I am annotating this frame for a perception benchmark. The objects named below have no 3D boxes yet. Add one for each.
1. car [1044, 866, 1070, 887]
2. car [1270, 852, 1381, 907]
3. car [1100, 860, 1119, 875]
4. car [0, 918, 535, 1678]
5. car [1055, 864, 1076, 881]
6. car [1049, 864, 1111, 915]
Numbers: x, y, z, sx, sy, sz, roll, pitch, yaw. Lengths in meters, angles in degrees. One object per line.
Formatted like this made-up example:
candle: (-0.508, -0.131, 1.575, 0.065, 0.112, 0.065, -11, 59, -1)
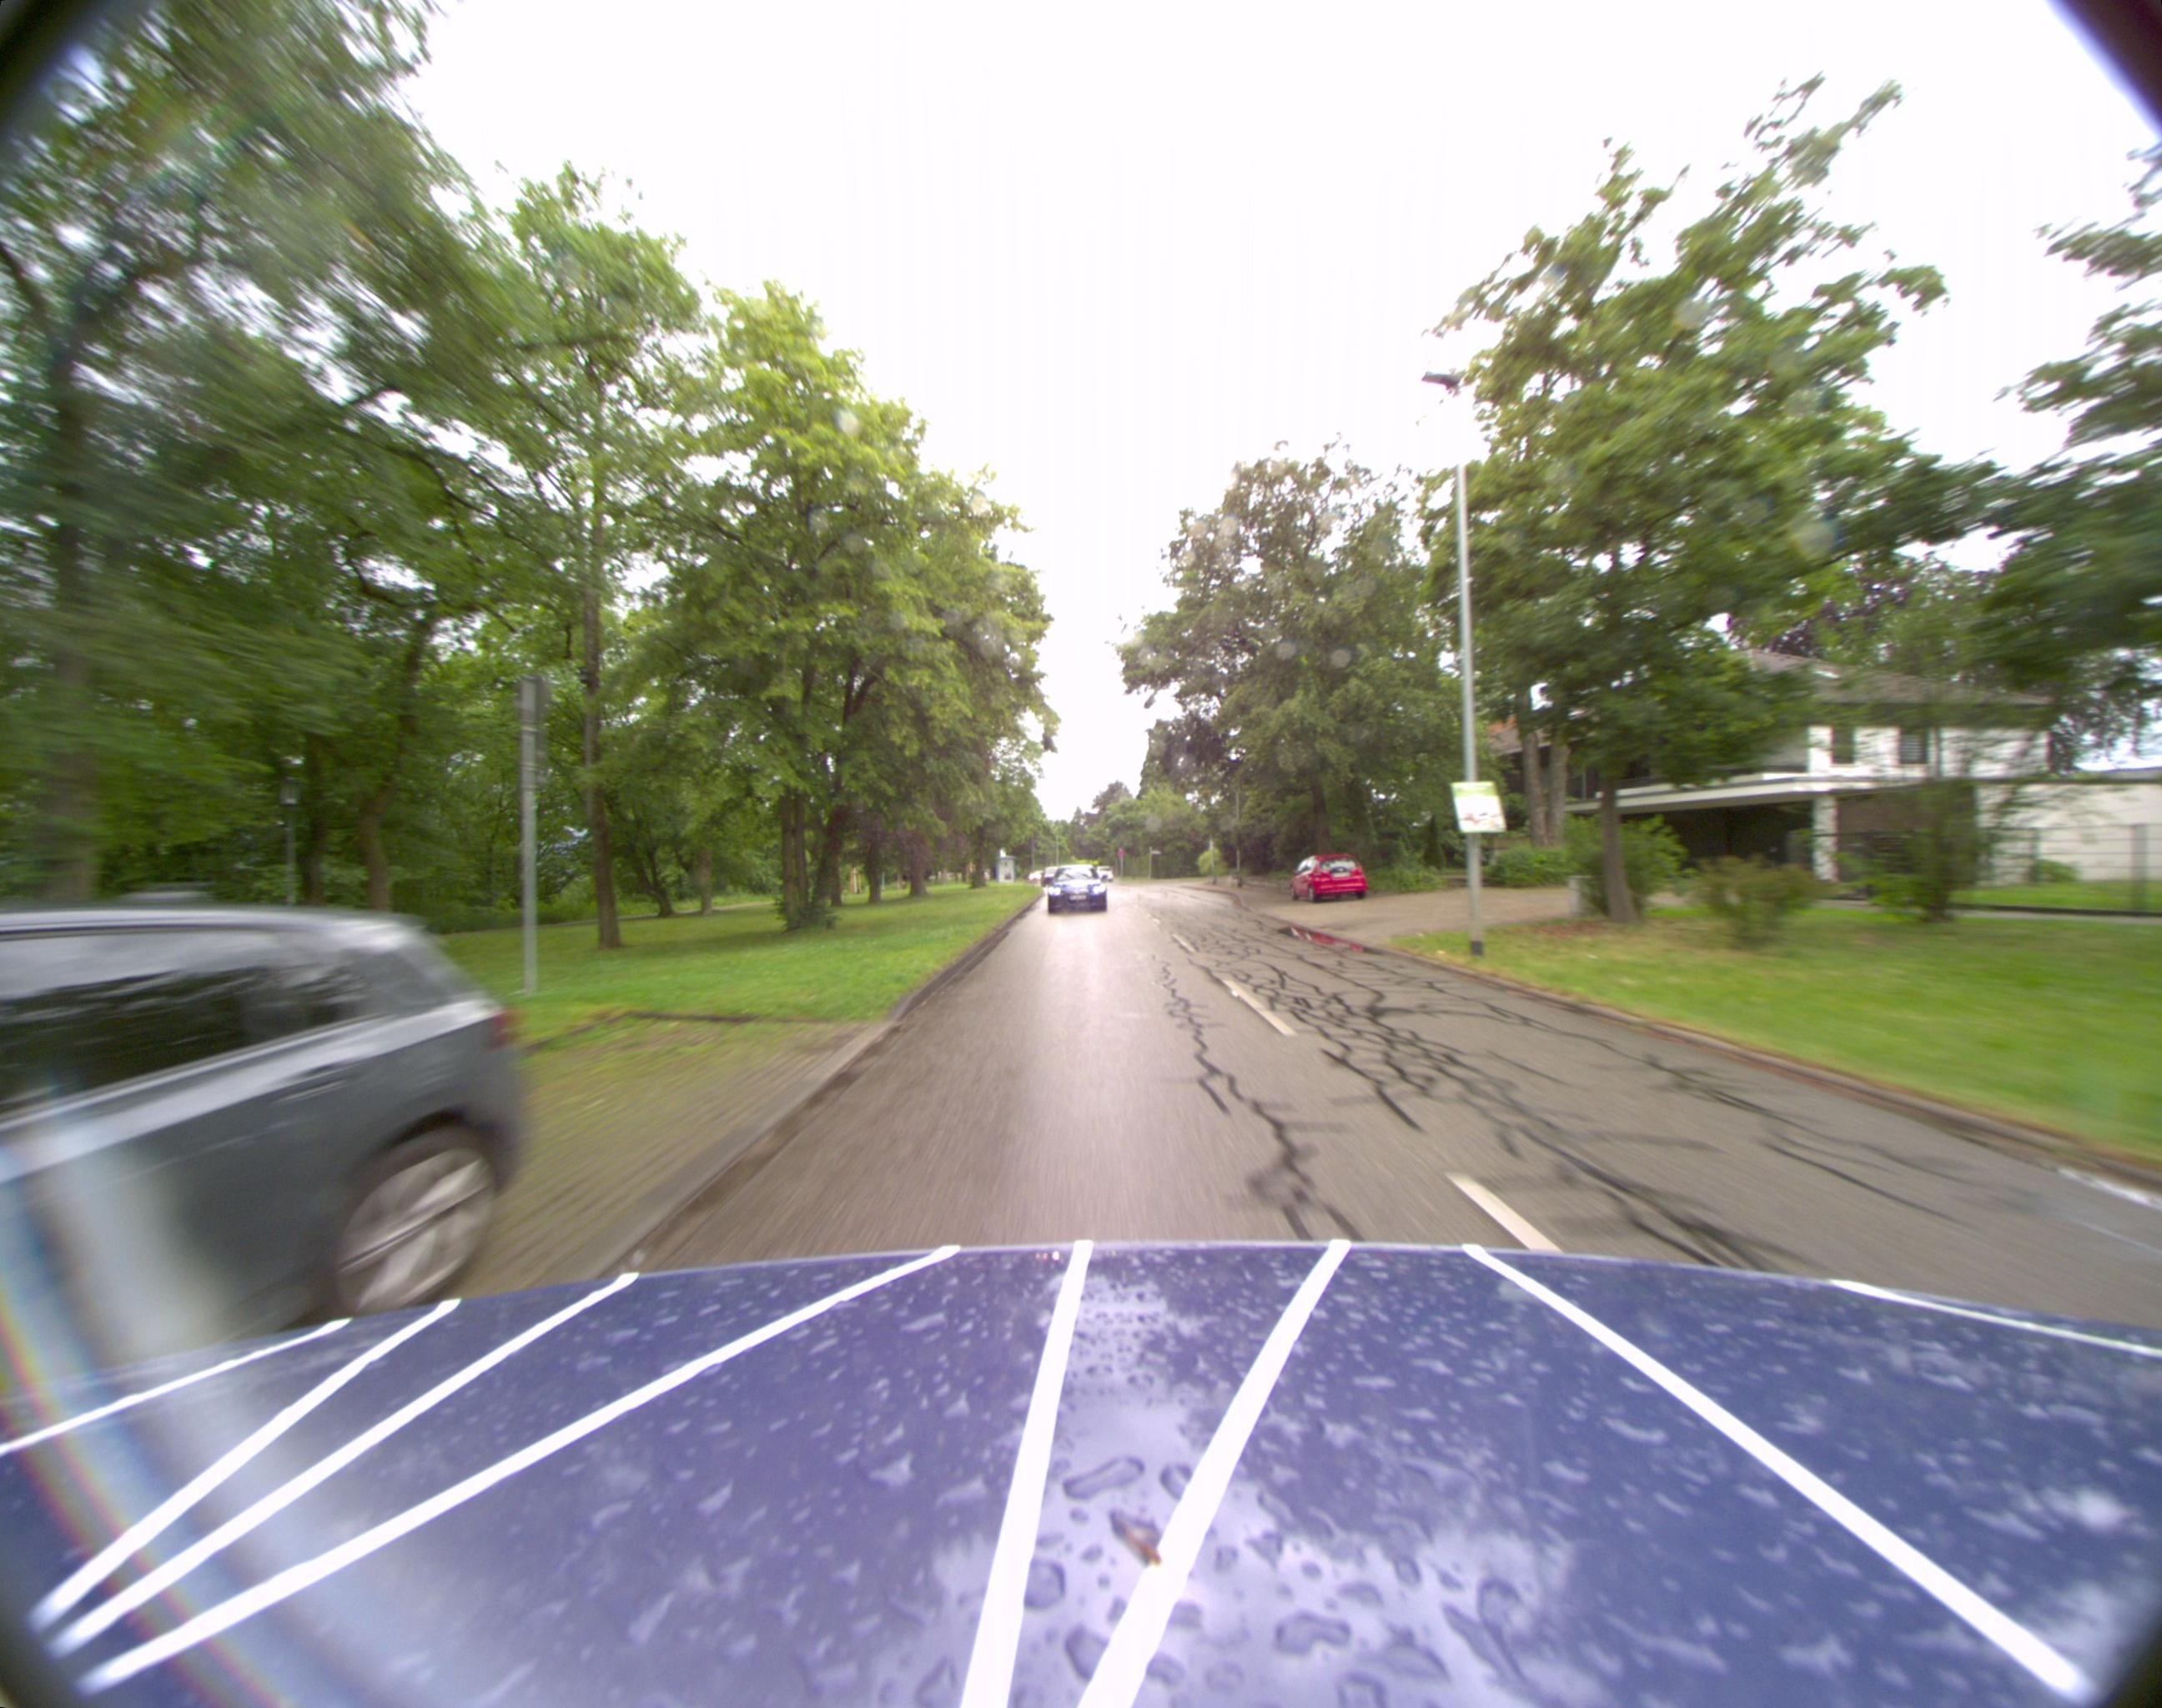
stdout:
car: (-1.827, 1.721, 58.088, 1.839, 1.501, 4.000, -1, -1, -1)
car: (8.045, 0.810, 25.424, 1.999, 1.507, 3.999, -5, 0, -5)
car: (2.763, 1.299, 71.924, 1.704, 1.402, 4.010, 1, -1, 3)
car: (-3.120, 0.997, 1.005, 1.705, 1.453, 4.217, 0, 0, 1)
car: (-1.419, 1.709, 71.076, 1.839, 1.501, 4.000, -1, -1, -1)
car: (-0.065, 1.107, 25.020, 1.839, 1.501, 4.000, -1, -1, -1)
